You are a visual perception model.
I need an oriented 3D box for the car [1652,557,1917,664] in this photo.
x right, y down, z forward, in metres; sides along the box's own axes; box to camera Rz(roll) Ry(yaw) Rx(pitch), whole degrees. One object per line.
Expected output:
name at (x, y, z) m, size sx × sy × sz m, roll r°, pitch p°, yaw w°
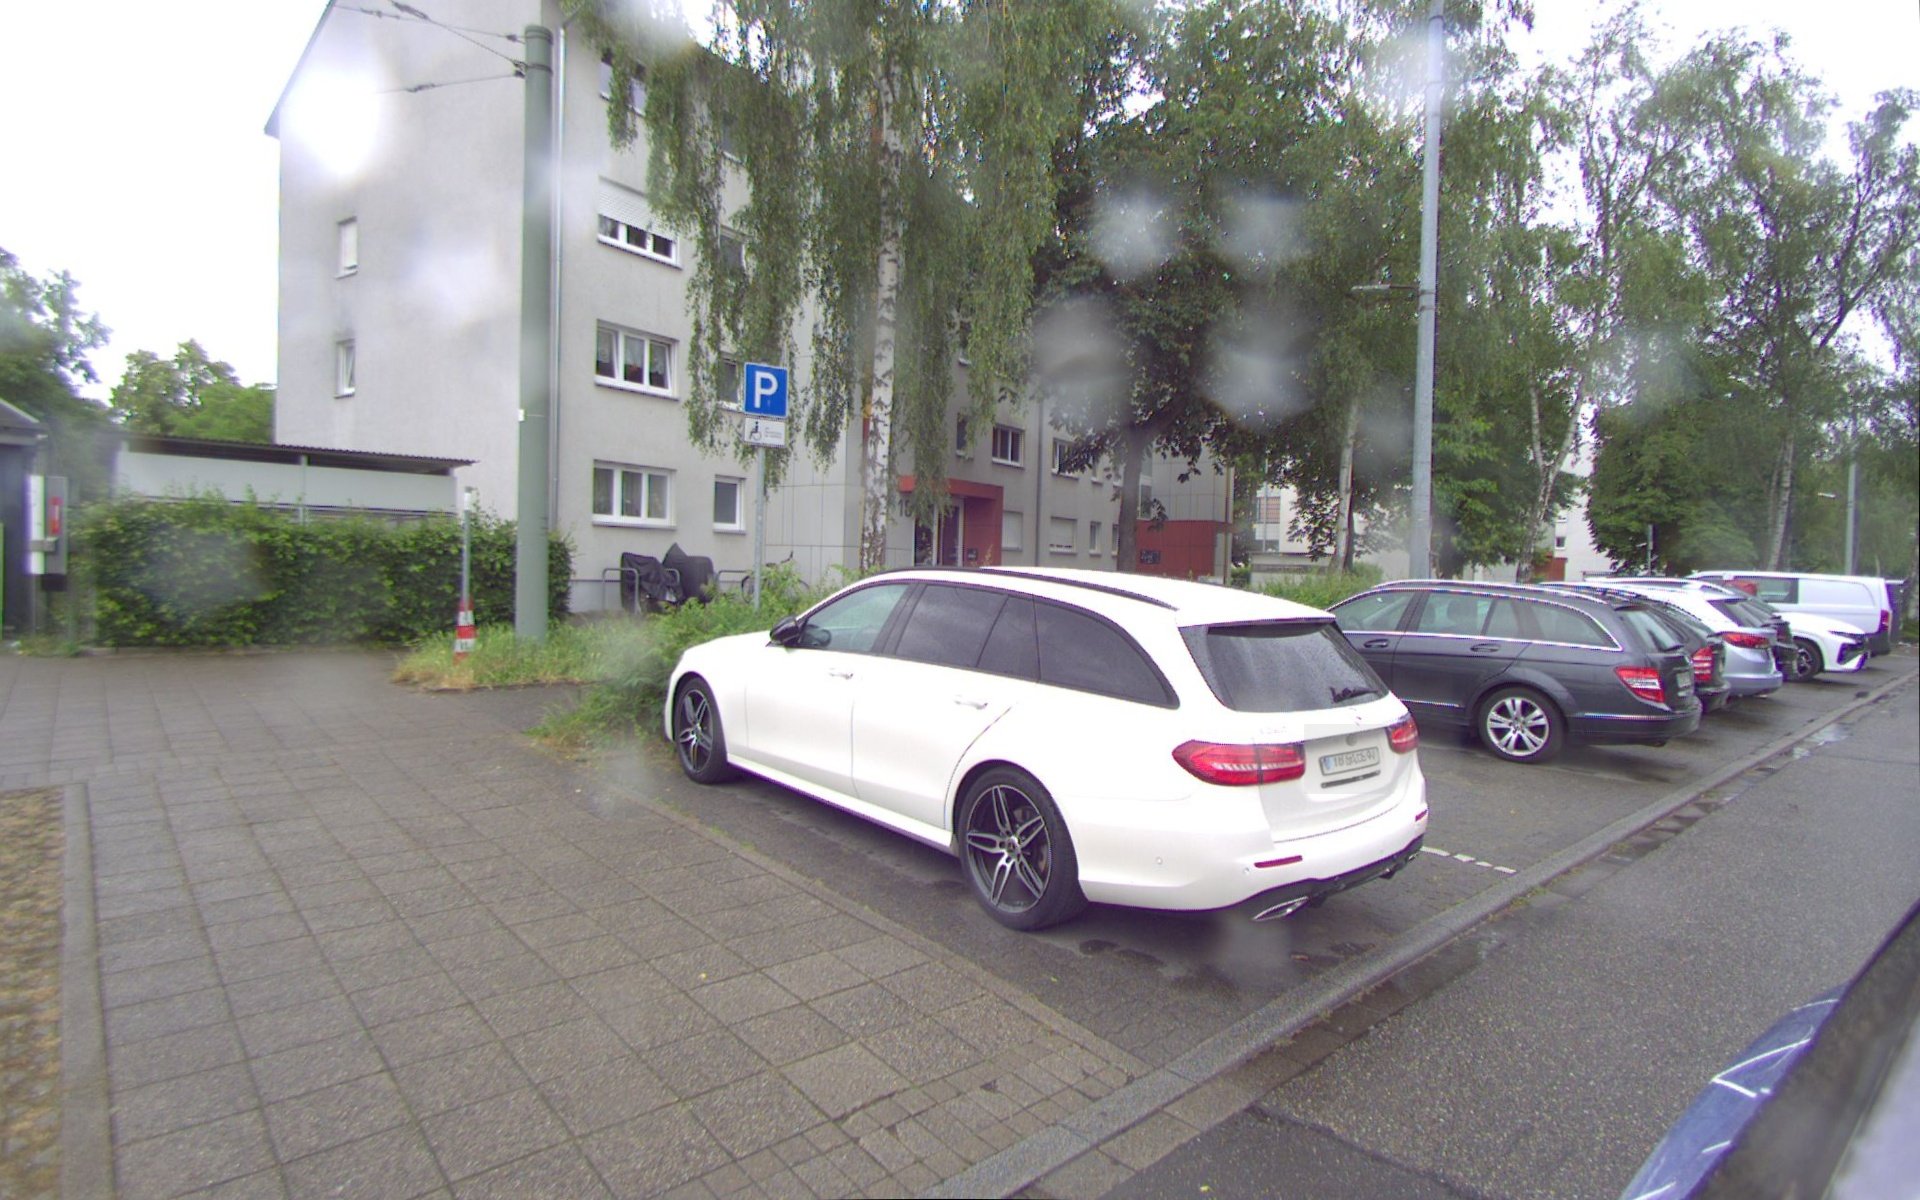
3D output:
car at (17.524, 0.131, 21.667) m, size 4.172 × 1.888 × 1.654 m, roll 6°, pitch 5°, yaw 44°

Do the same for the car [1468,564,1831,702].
car at (9.830, 0.355, 14.673) m, size 1.653 × 1.514 × 4.044 m, roll -1°, pitch 5°, yaw -43°

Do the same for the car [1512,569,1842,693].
car at (11.402, 0.383, 16.305) m, size 1.653 × 1.514 × 4.044 m, roll -1°, pitch 5°, yaw -43°

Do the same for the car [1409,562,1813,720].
car at (8.203, 0.384, 13.039) m, size 1.653 × 1.514 × 4.044 m, roll -1°, pitch 5°, yaw -43°

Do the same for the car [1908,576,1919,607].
car at (53.237, -0.452, 53.734) m, size 1.866 × 1.701 × 3.998 m, roll -1°, pitch 1°, yaw -36°

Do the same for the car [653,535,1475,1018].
car at (0.077, 0.469, 5.613) m, size 1.651 × 1.456 × 4.622 m, roll -1°, pitch 5°, yaw -41°

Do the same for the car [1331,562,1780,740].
car at (6.559, 0.412, 11.501) m, size 1.653 × 1.456 × 4.044 m, roll -1°, pitch 5°, yaw -43°

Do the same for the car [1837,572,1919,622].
car at (37.733, -0.133, 40.258) m, size 1.866 × 1.937 × 3.998 m, roll -1°, pitch 0°, yaw -36°

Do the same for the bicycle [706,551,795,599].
bicycle at (-4.530, -0.534, 21.971) m, size 0.701 × 1.005 × 1.918 m, roll 0°, pitch 0°, yaw 37°

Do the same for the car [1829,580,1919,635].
car at (34.428, 0.240, 36.808) m, size 1.866 × 1.937 × 3.998 m, roll -1°, pitch 0°, yaw -36°

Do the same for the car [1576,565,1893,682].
car at (13.713, 0.311, 18.154) m, size 1.651 × 1.637 × 4.181 m, roll 0°, pitch 5°, yaw -40°

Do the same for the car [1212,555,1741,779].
car at (4.587, 0.419, 9.464) m, size 1.653 × 1.456 × 4.044 m, roll -1°, pitch 5°, yaw -43°
